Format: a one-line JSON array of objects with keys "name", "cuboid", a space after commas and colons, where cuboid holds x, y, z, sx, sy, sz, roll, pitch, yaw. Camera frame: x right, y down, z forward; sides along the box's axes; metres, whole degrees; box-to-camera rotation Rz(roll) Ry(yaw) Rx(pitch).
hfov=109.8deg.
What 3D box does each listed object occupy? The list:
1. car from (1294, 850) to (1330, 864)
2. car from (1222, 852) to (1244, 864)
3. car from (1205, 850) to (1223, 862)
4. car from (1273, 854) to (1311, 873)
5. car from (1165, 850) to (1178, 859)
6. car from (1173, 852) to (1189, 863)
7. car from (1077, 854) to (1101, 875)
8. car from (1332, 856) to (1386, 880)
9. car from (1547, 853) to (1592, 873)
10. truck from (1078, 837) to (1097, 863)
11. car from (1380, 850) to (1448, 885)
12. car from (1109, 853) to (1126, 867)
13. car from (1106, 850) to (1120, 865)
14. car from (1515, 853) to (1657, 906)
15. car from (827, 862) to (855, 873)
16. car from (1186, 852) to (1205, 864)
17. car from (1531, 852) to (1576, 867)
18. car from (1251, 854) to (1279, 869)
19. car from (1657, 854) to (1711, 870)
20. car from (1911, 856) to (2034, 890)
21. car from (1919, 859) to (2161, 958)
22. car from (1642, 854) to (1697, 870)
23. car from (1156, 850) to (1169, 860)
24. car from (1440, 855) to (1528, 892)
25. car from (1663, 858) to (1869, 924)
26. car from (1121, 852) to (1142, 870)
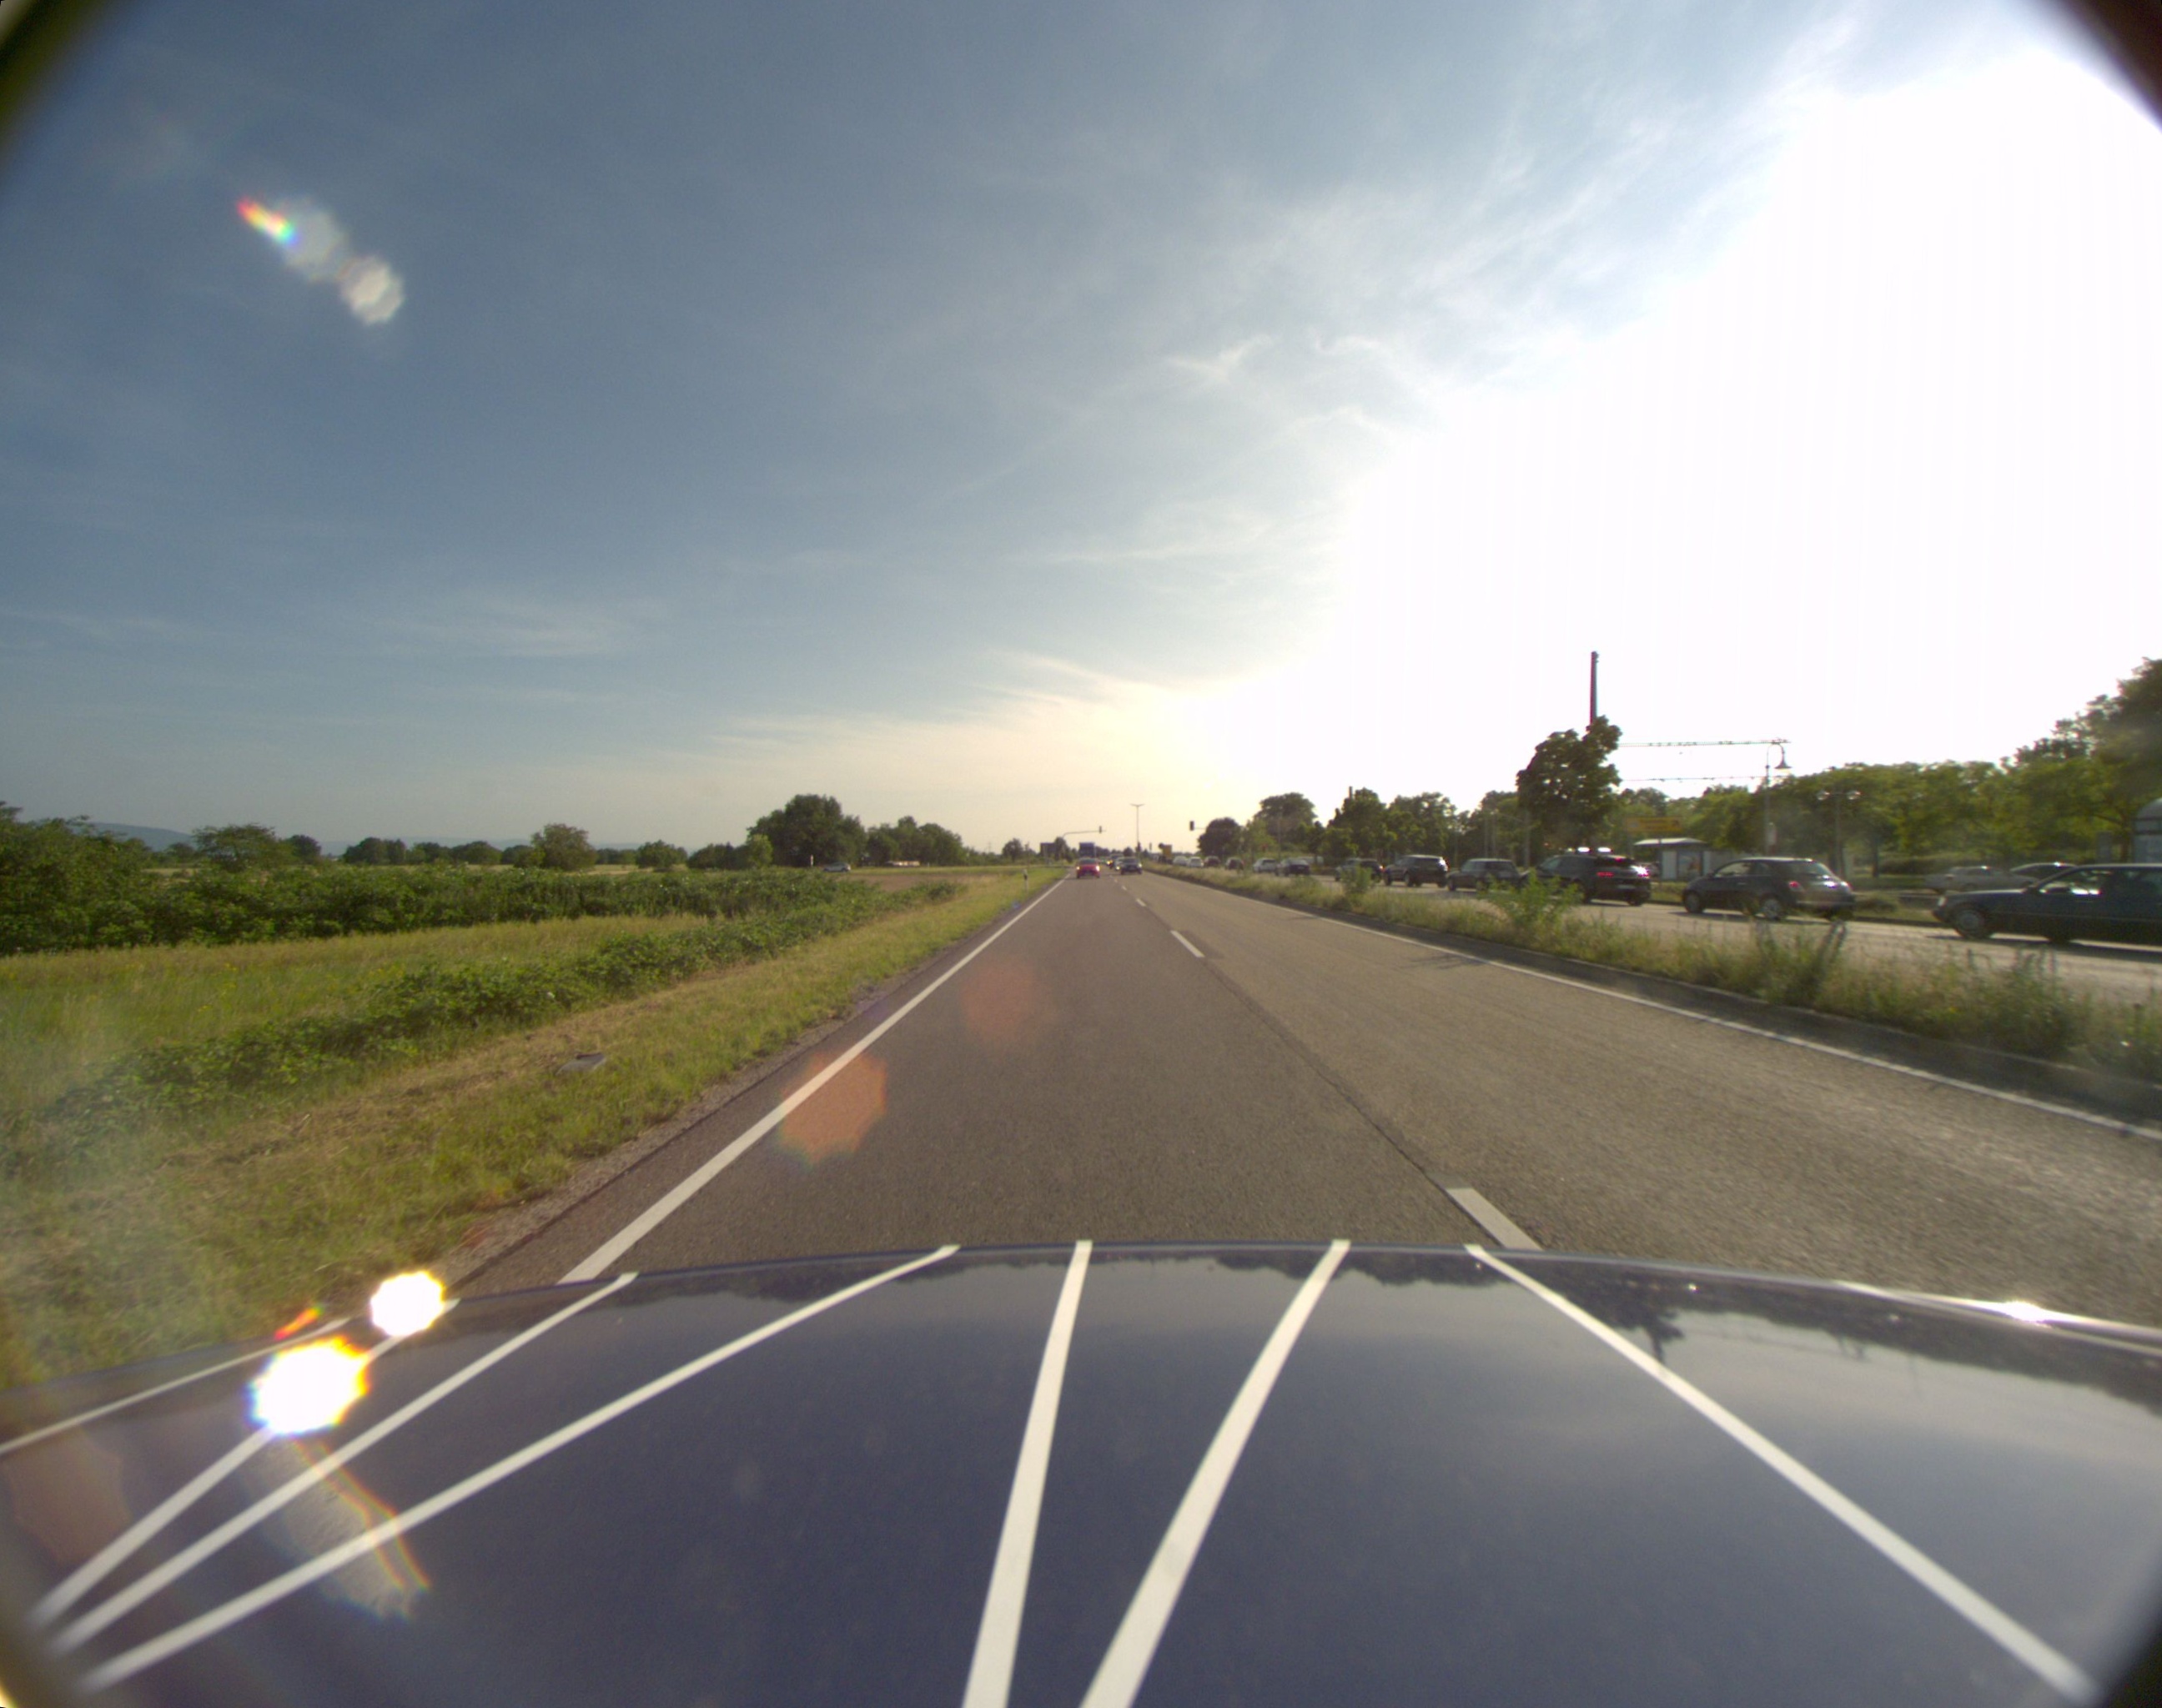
[{"name": "car", "cuboid": [35.910, 0.446, 118.141, 4.844, 1.876, 2.253, -2, 0, -4]}, {"name": "car", "cuboid": [17.439, 0.441, 87.317, 1.664, 1.373, 4.000, 1, 0, 1]}, {"name": "car", "cuboid": [18.442, 0.293, 105.775, 1.801, 1.580, 4.000, 1, 0, 1]}, {"name": "car", "cuboid": [16.737, 0.688, 60.564, 1.664, 1.407, 4.975, 1, 0, 1]}, {"name": "car", "cuboid": [18.981, 0.102, 159.656, 1.998, 1.961, 5.079, 2, 0, 1]}, {"name": "car", "cuboid": [14.100, 0.418, 107.569, 1.756, 1.499, 4.583, 1, 0, 1]}, {"name": "car", "cuboid": [0.616, 0.761, 57.195, 1.735, 1.467, 4.000, -2, 0, 1]}, {"name": "car", "cuboid": [16.897, 0.811, 46.398, 1.664, 1.373, 4.541, 1, 0, 1]}, {"name": "car", "cuboid": [48.125, 0.867, 74.860, 3.678, 1.866, 1.831, -2, 0, -17]}, {"name": "truck", "cuboid": [1.101, -0.651, 122.829, 2.849, 3.896, 10.104, -2, 0, 1]}, {"name": "car", "cuboid": [17.026, 0.643, 39.076, 1.664, 1.677, 4.229, 1, 0, 1]}, {"name": "car", "cuboid": [3.929, 0.631, 82.152, 1.636, 1.442, 4.000, -2, 0, 1]}, {"name": "car", "cuboid": [4.130, 0.486, 98.410, 1.636, 1.833, 4.000, -2, 0, 1]}, {"name": "car", "cuboid": [16.371, 0.754, 24.955, 1.664, 1.553, 4.545, 1, 0, 1]}, {"name": "car", "cuboid": [-37.085, 2.068, 117.650, 4.002, 1.641, 1.997, -2, 0, -14]}, {"name": "car", "cuboid": [14.615, 0.497, 96.767, 1.823, 1.461, 4.294, 1, 0, 1]}, {"name": "car", "cuboid": [49.348, 0.608, 79.350, 4.003, 1.412, 1.831, -2, 0, -20]}, {"name": "car", "cuboid": [17.723, 0.696, 73.404, 1.664, 1.373, 4.468, 1, 0, 1]}, {"name": "car", "cuboid": [63.674, 0.834, 80.307, 2.003, 1.529, 3.991, -2, 0, -28]}, {"name": "car", "cuboid": [48.246, 1.040, 41.203, 3.994, 1.652, 2.001, -2, 0, 9]}, {"name": "car", "cuboid": [16.830, 0.835, 12.143, 1.664, 1.423, 4.717, 1, 0, 1]}, {"name": "car", "cuboid": [61.278, 0.877, 79.154, 2.003, 1.529, 3.991, -2, 0, -28]}, {"name": "car", "cuboid": [14.442, 0.199, 135.060, 1.862, 1.735, 4.529, 1, 0, 1]}, {"name": "car", "cuboid": [16.783, 0.773, 31.873, 1.664, 1.423, 3.805, 1, 0, 1]}, {"name": "car", "cuboid": [16.749, 0.839, 18.859, 1.664, 1.423, 3.805, 1, 0, 1]}, {"name": "car", "cuboid": [4.336, 0.589, 65.622, 1.636, 1.500, 4.000, -2, 0, 1]}]
